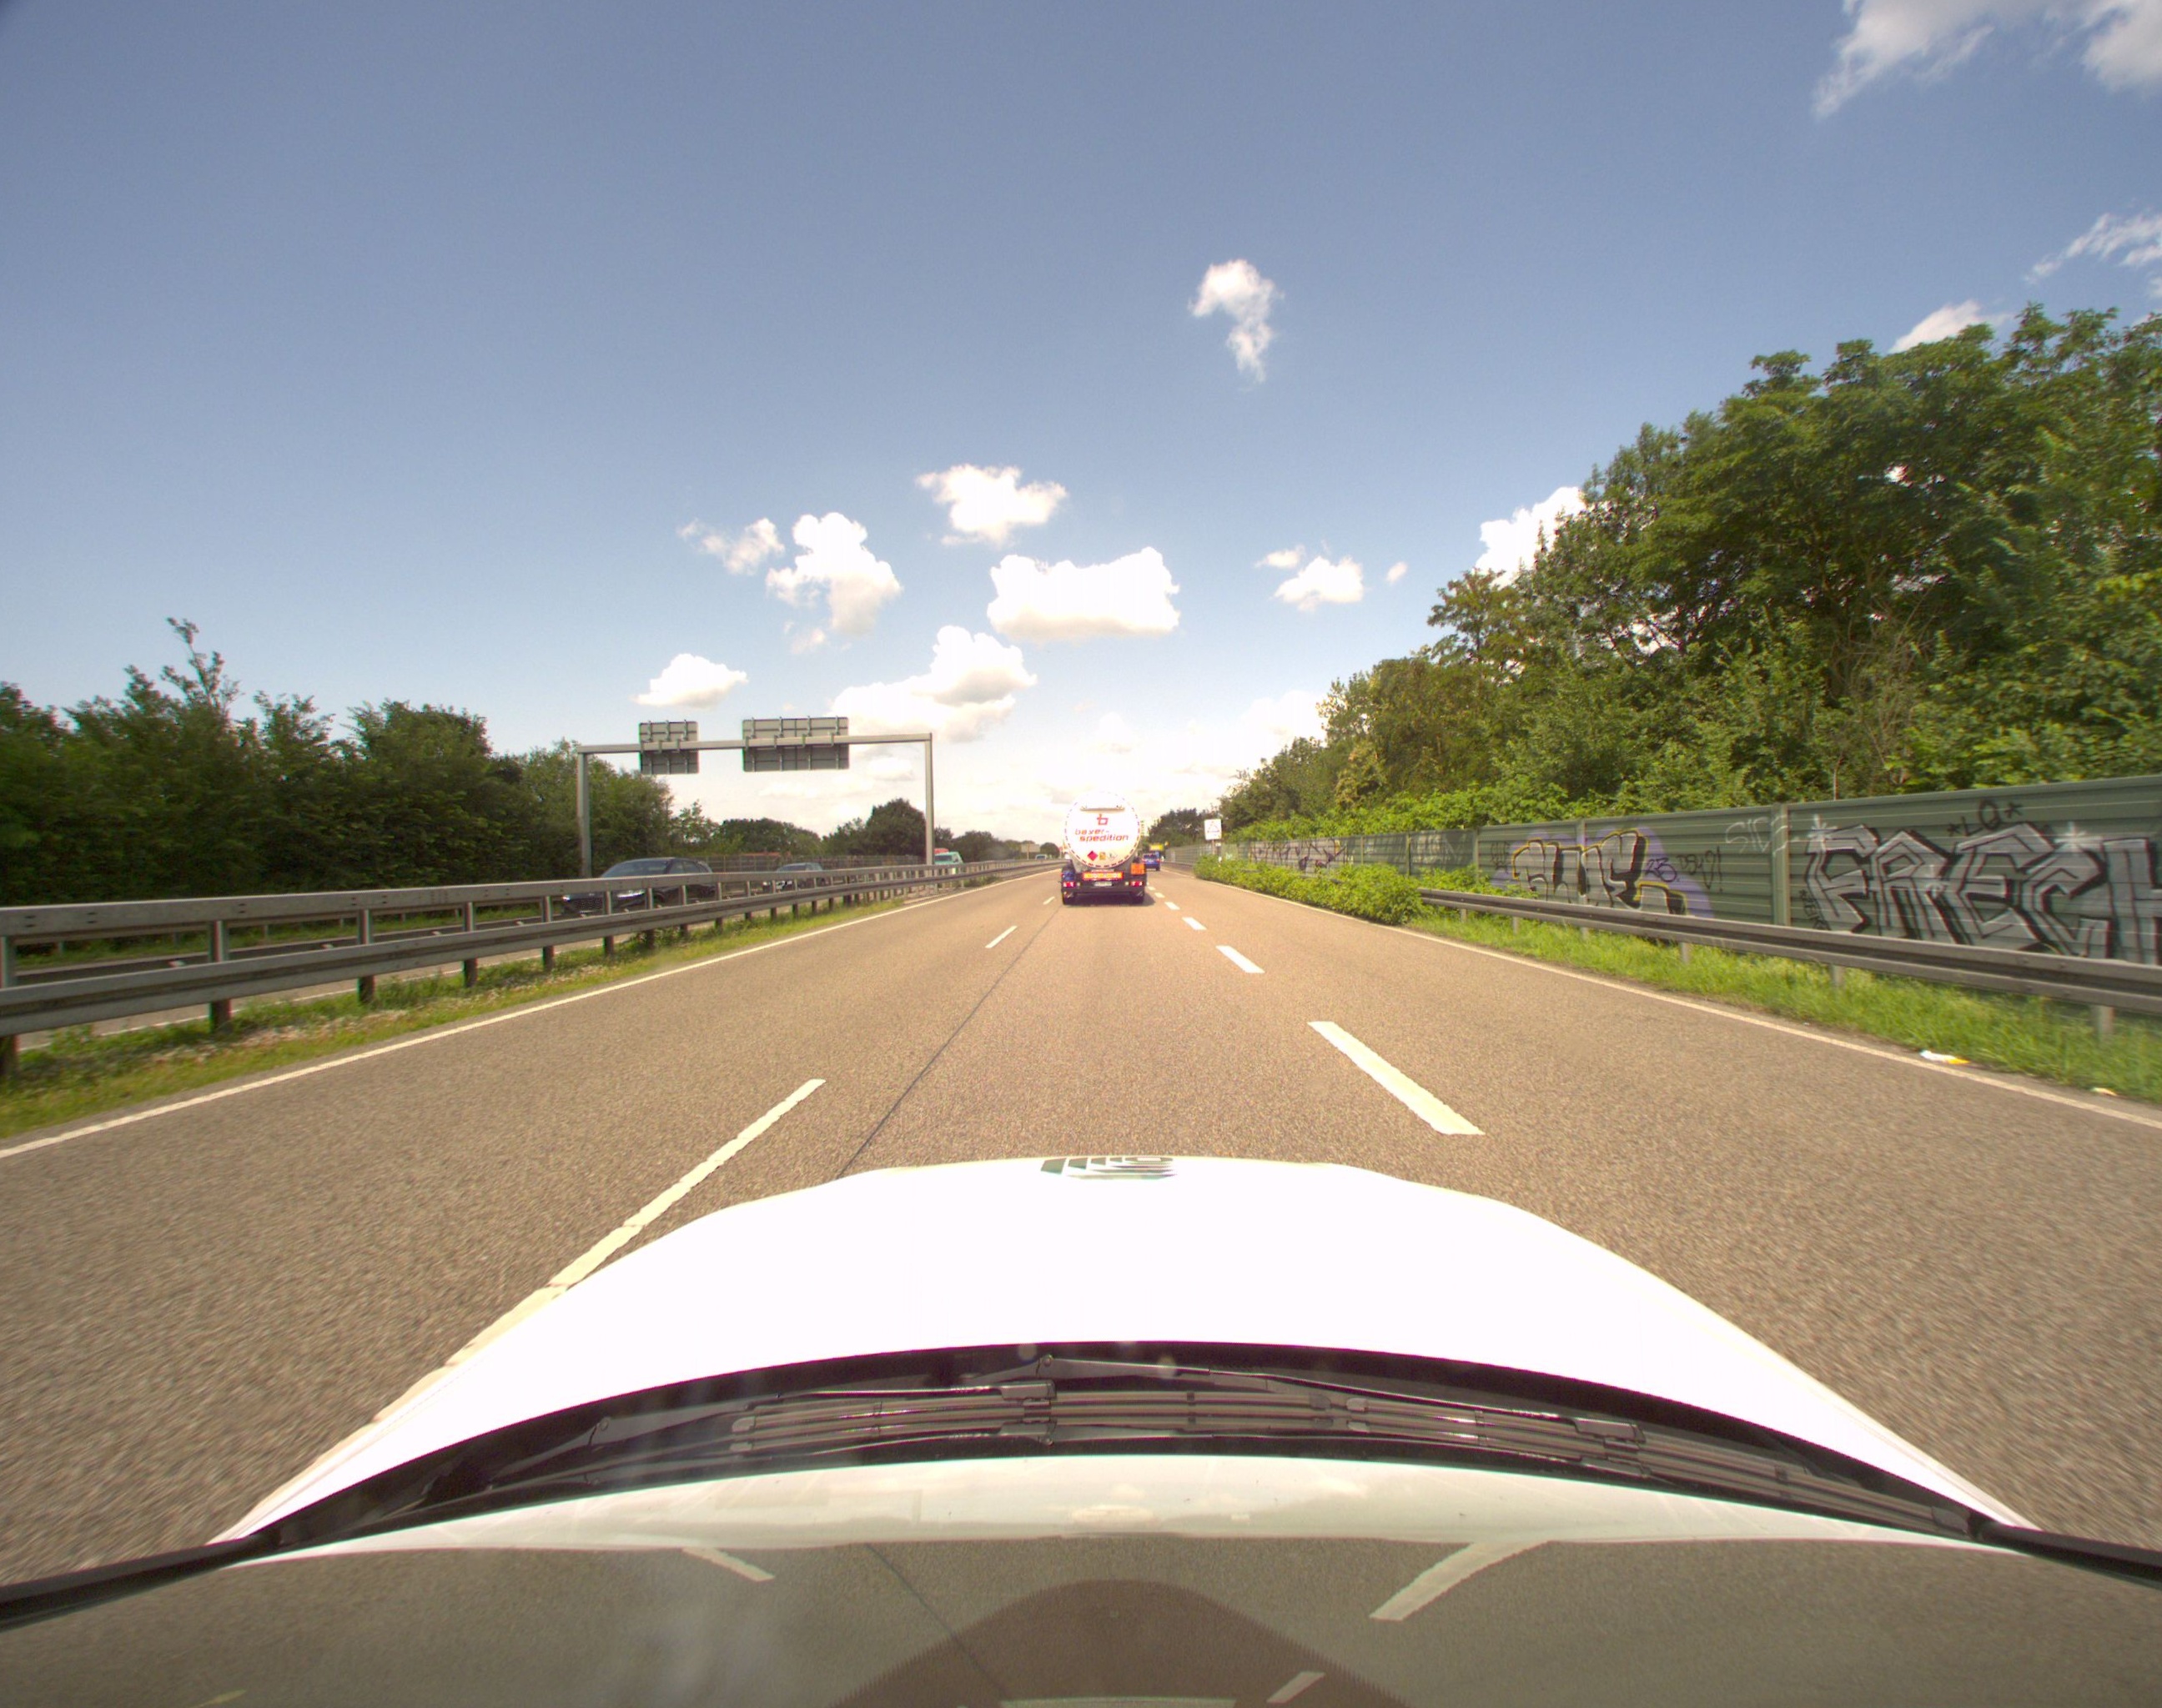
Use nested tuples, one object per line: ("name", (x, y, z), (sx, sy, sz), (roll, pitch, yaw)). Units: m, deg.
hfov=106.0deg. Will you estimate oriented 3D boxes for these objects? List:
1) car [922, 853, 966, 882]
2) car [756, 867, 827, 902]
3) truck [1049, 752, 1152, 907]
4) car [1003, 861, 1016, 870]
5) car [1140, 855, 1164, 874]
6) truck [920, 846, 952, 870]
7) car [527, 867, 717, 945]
("car", (-9.316, 0.910, 55.713), (1.986, 1.863, 5.394), (0, -1, 1))
("car", (-13.819, 1.424, 39.193), (1.695, 1.575, 4.557), (0, -1, 1))
("truck", (0.691, -0.662, 27.047), (2.884, 4.369, 8.032), (0, -1, 2))
("car", (-11.111, 1.757, 126.149), (1.683, 1.431, 4.401), (0, -1, 0))
("car", (6.592, 0.989, 76.170), (1.986, 1.706, 4.001), (0, -1, 2))
("truck", (-23.148, 0.671, 129.720), (2.667, 3.782, 6.166), (0, -1, -34))
("car", (-10.431, 1.109, 18.938), (1.986, 1.597, 4.134), (0, -1, 1))
